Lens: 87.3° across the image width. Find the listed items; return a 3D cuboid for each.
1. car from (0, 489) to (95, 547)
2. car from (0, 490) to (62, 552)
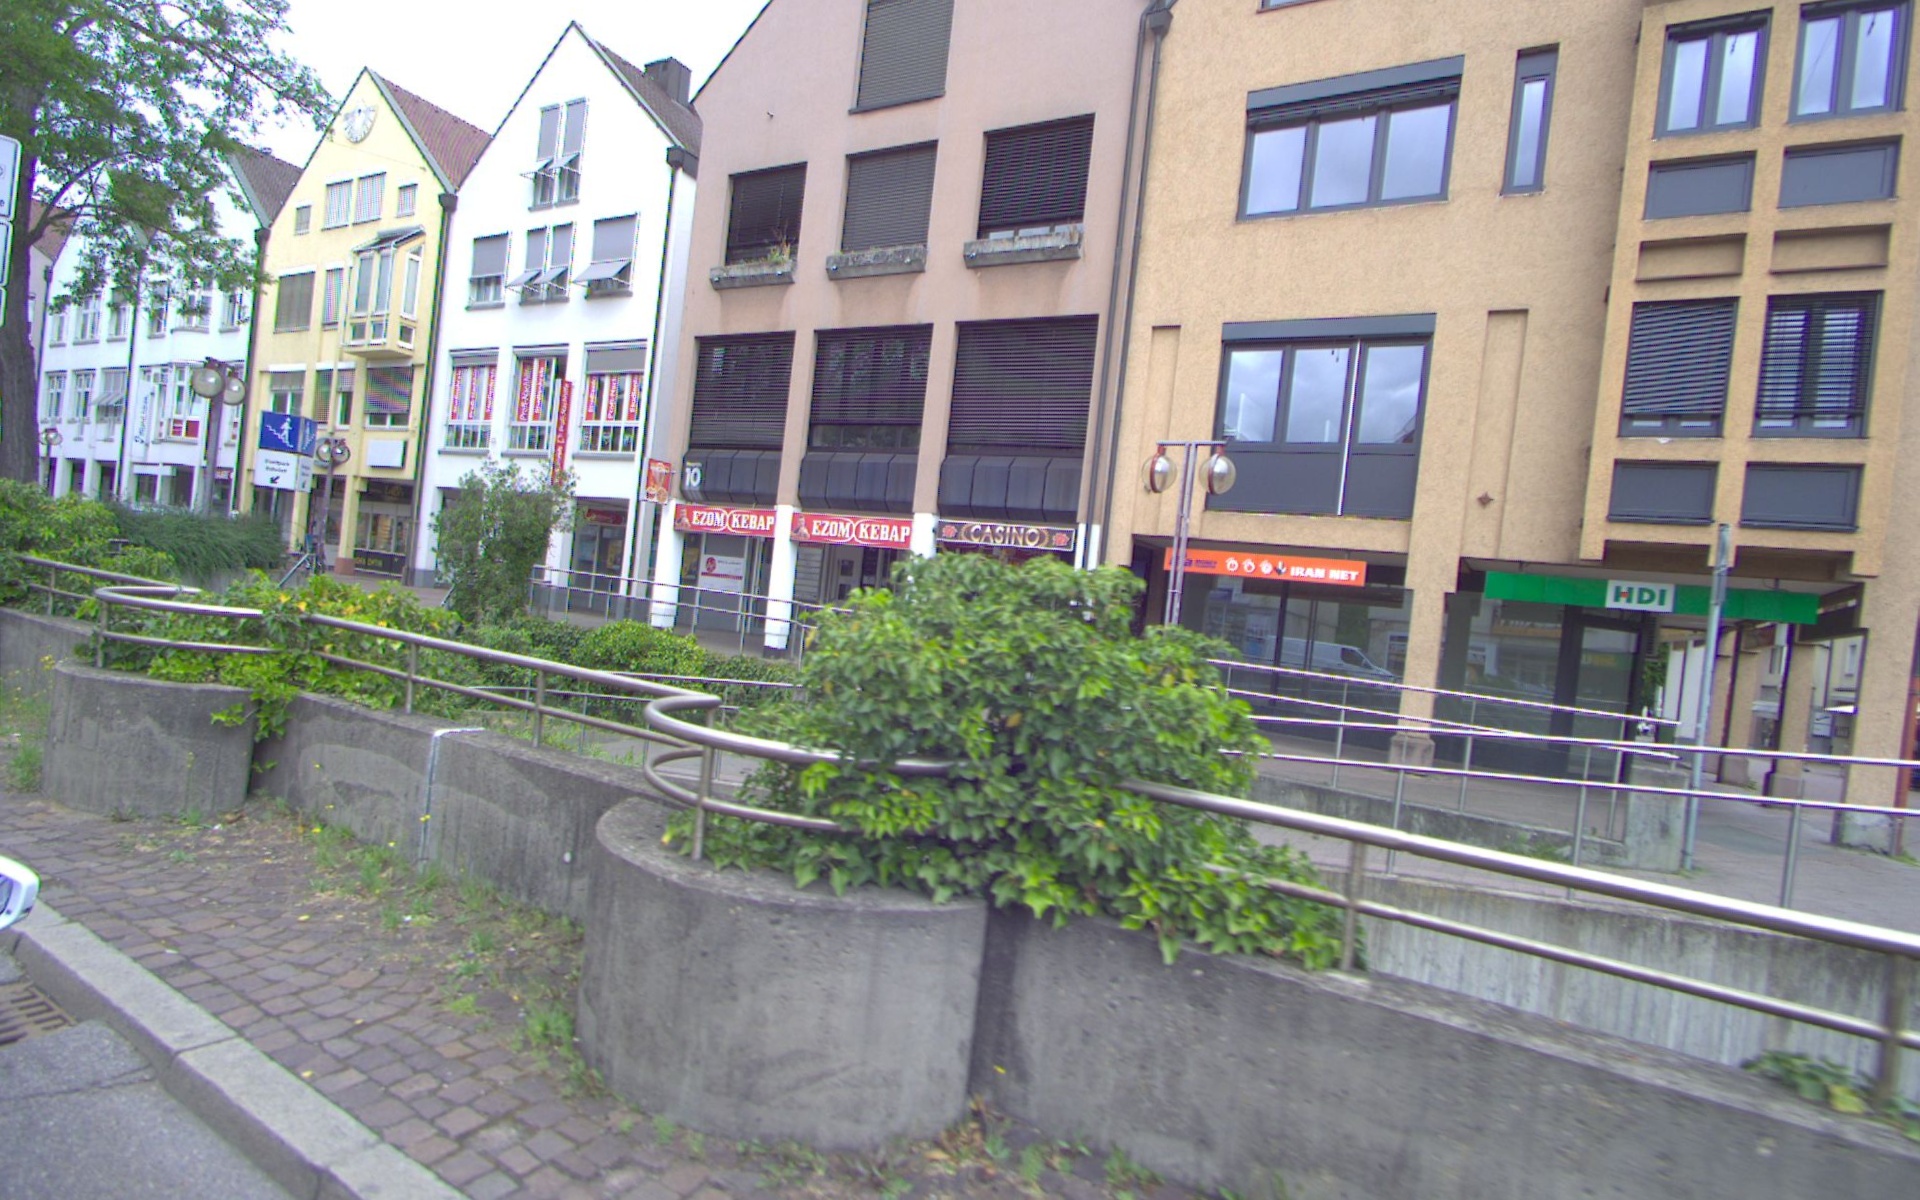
[{"bbox_3d":[-31.035,-2.803,33.651,3.931,1.546,1.870,7,0,29],"label":"car"},{"bbox_3d":[-27.751,-2.404,28.743,3.931,1.546,1.870,7,0,29],"label":"car"}]
